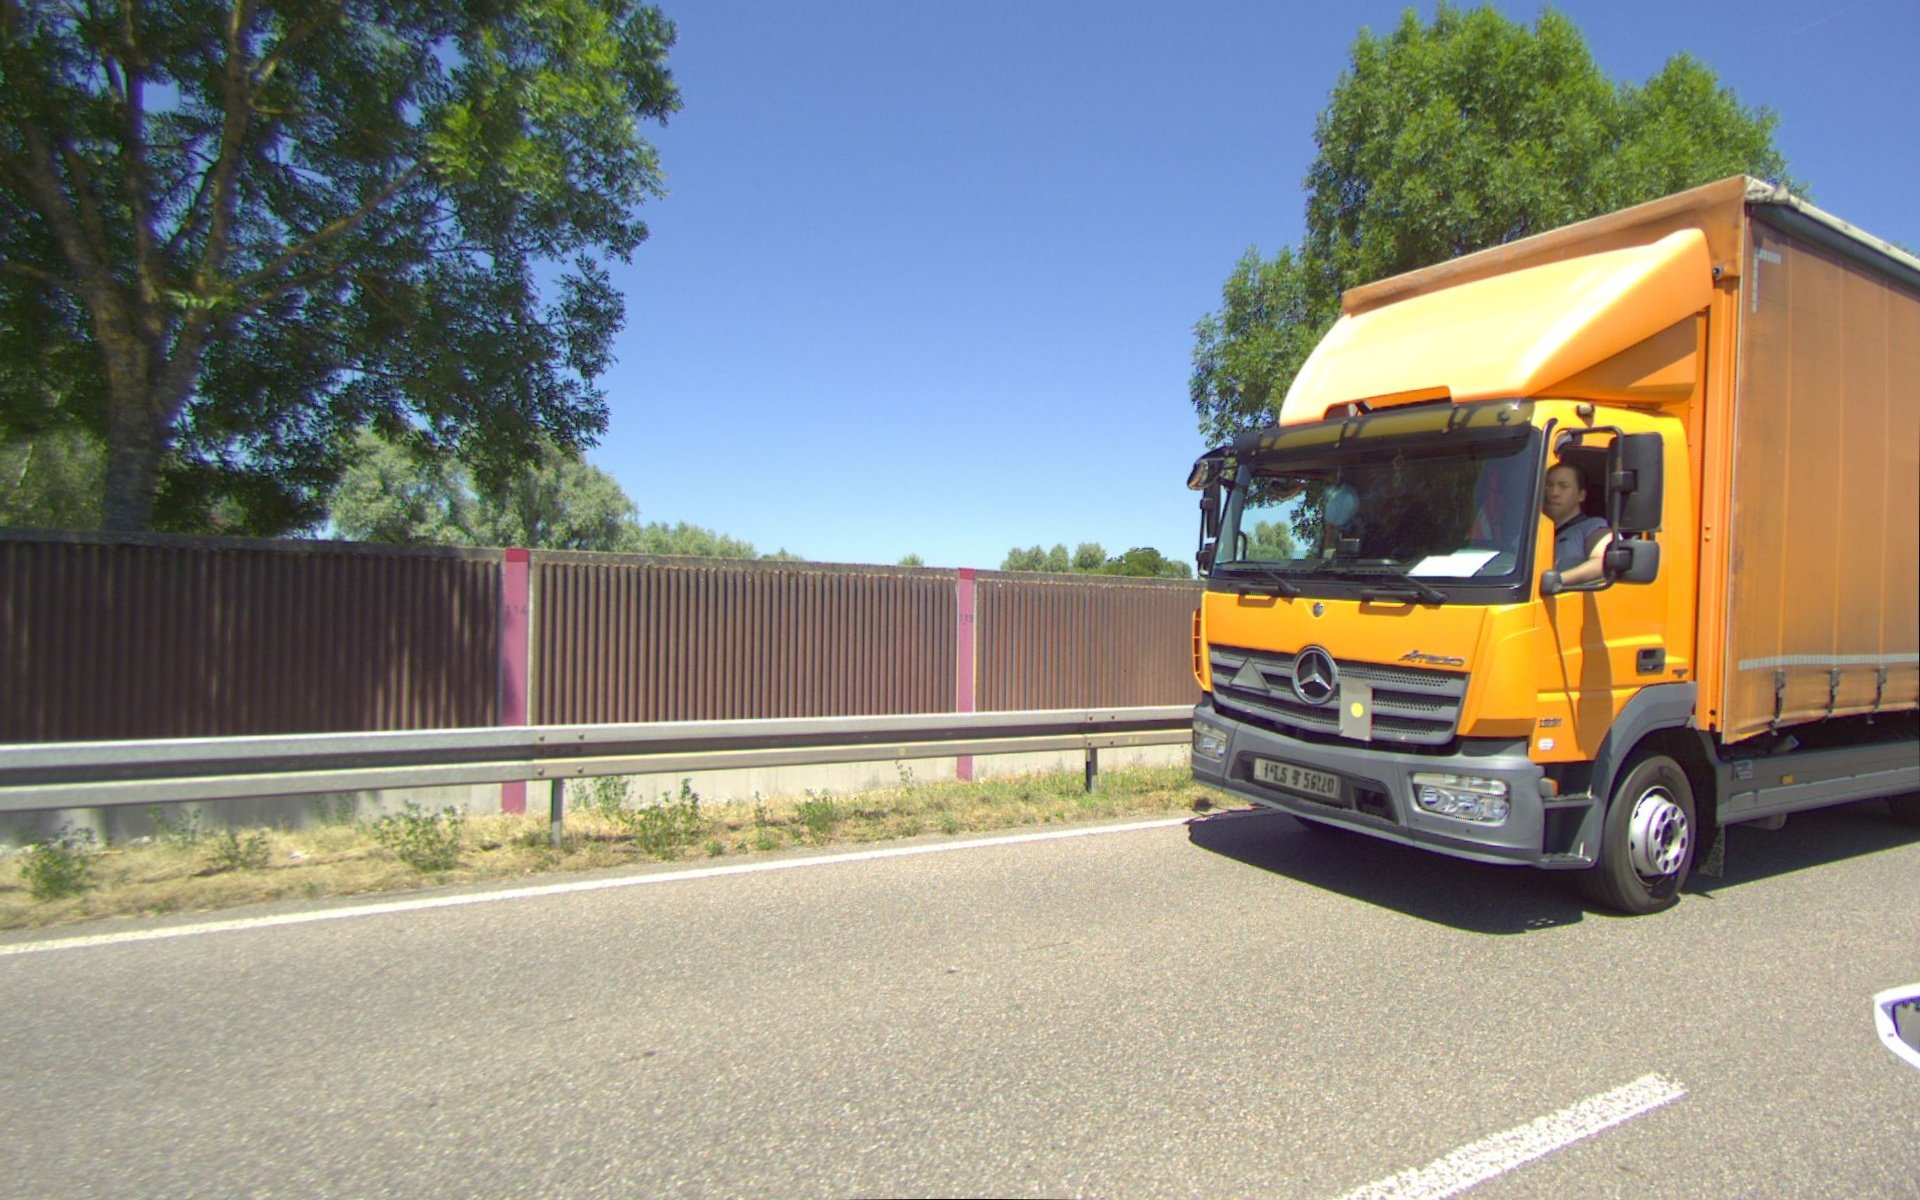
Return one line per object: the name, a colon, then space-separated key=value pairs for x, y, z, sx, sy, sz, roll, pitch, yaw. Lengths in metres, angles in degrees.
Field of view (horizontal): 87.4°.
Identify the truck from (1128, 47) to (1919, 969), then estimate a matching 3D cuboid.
truck: x=5.806 y=-0.267 z=7.788 sx=9.215 sy=3.891 sz=2.779 roll=2 pitch=-1 yaw=-30
